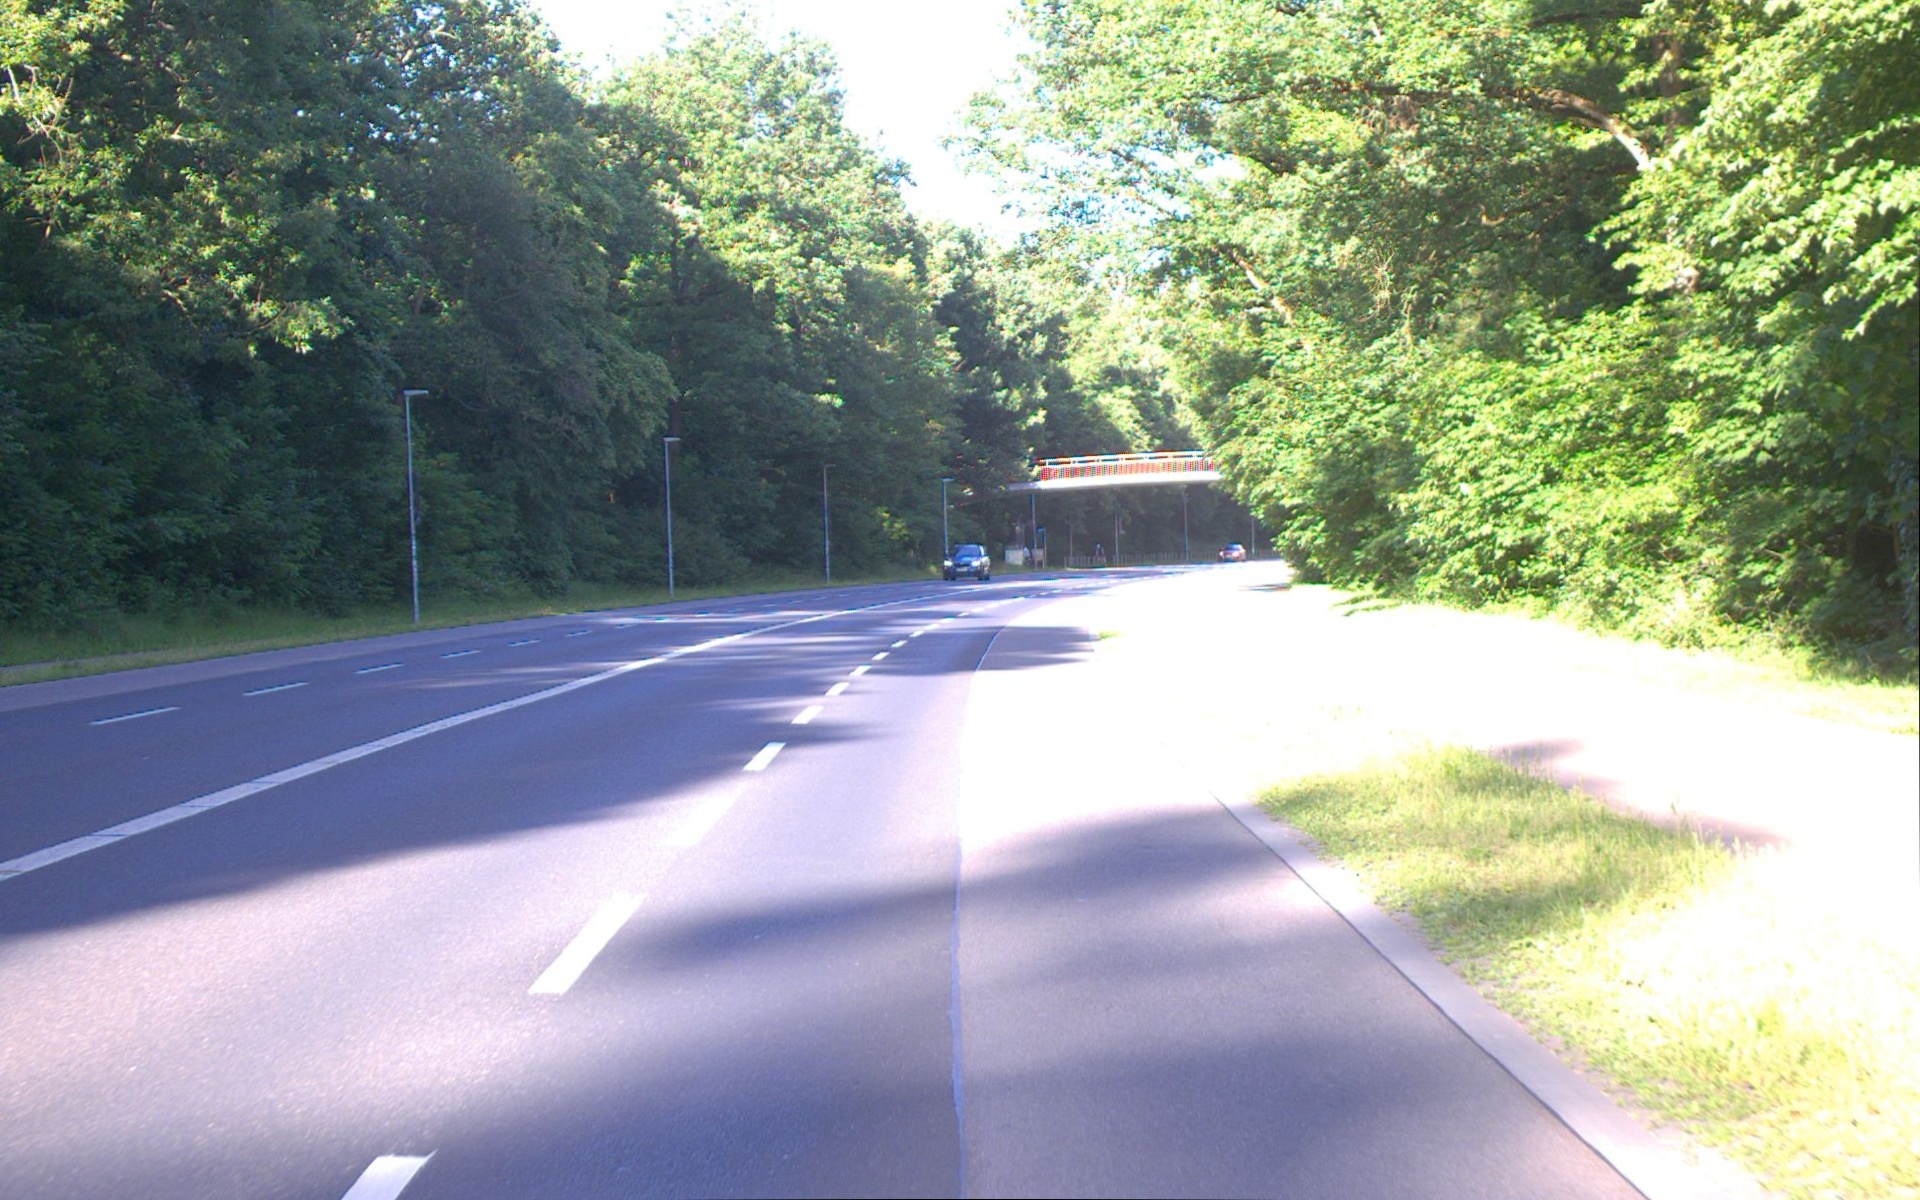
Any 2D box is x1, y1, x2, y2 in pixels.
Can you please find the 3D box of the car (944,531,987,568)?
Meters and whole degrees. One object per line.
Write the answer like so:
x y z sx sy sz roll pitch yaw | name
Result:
0.255 -2.322 157.420 1.807 1.657 4.522 -1 1 2 | car
